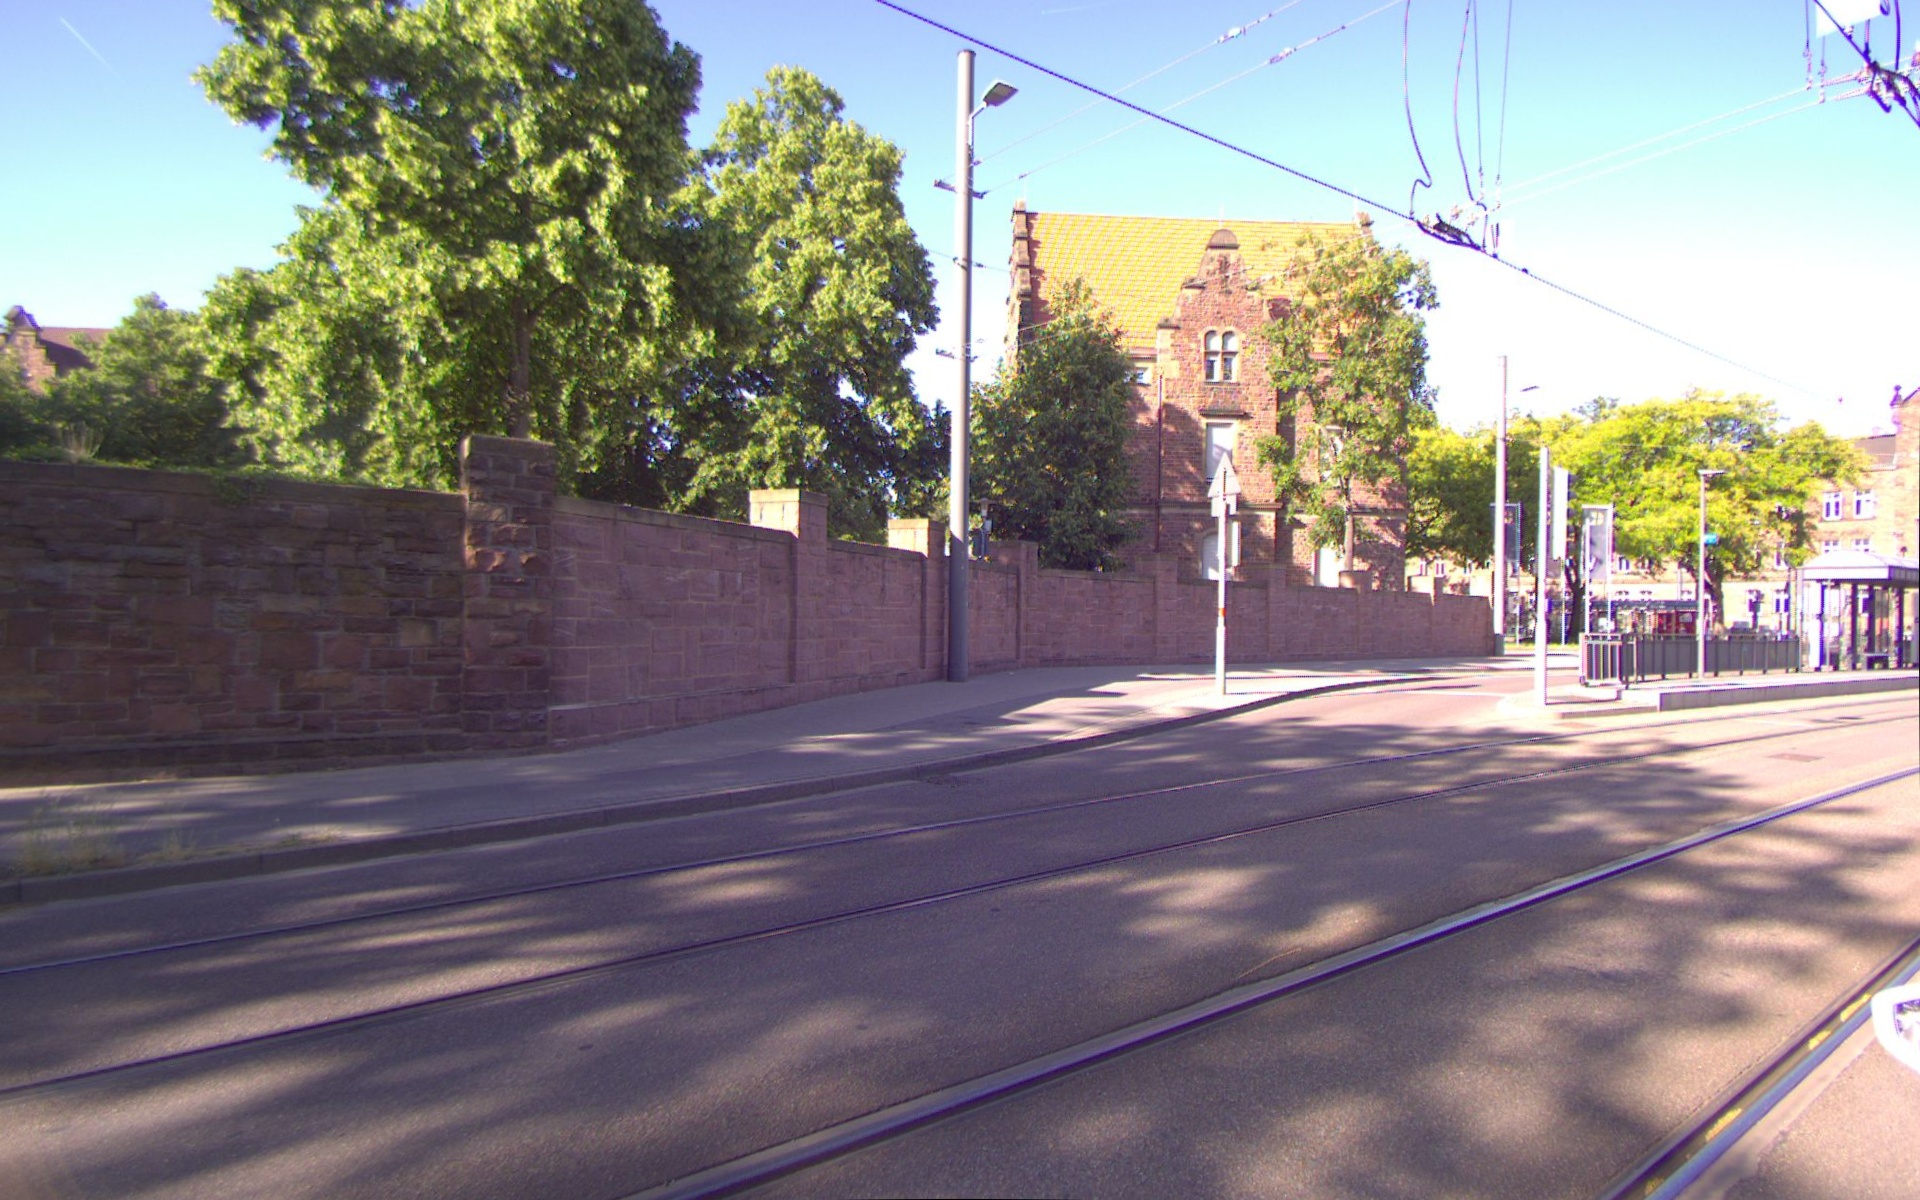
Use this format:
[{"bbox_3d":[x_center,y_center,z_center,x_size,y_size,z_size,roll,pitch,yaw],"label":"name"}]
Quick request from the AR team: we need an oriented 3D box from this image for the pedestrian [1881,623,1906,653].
[{"bbox_3d":[51.739,2.089,55.676,0.924,1.609,0.798,2,0,-32],"label":"pedestrian"}]

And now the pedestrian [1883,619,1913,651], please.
[{"bbox_3d":[50.658,1.891,54.245,1.017,1.706,0.891,2,0,-30],"label":"pedestrian"}]

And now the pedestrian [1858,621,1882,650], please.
[{"bbox_3d":[52.853,2.067,58.346,0.924,1.609,0.798,2,0,-32],"label":"pedestrian"}]
